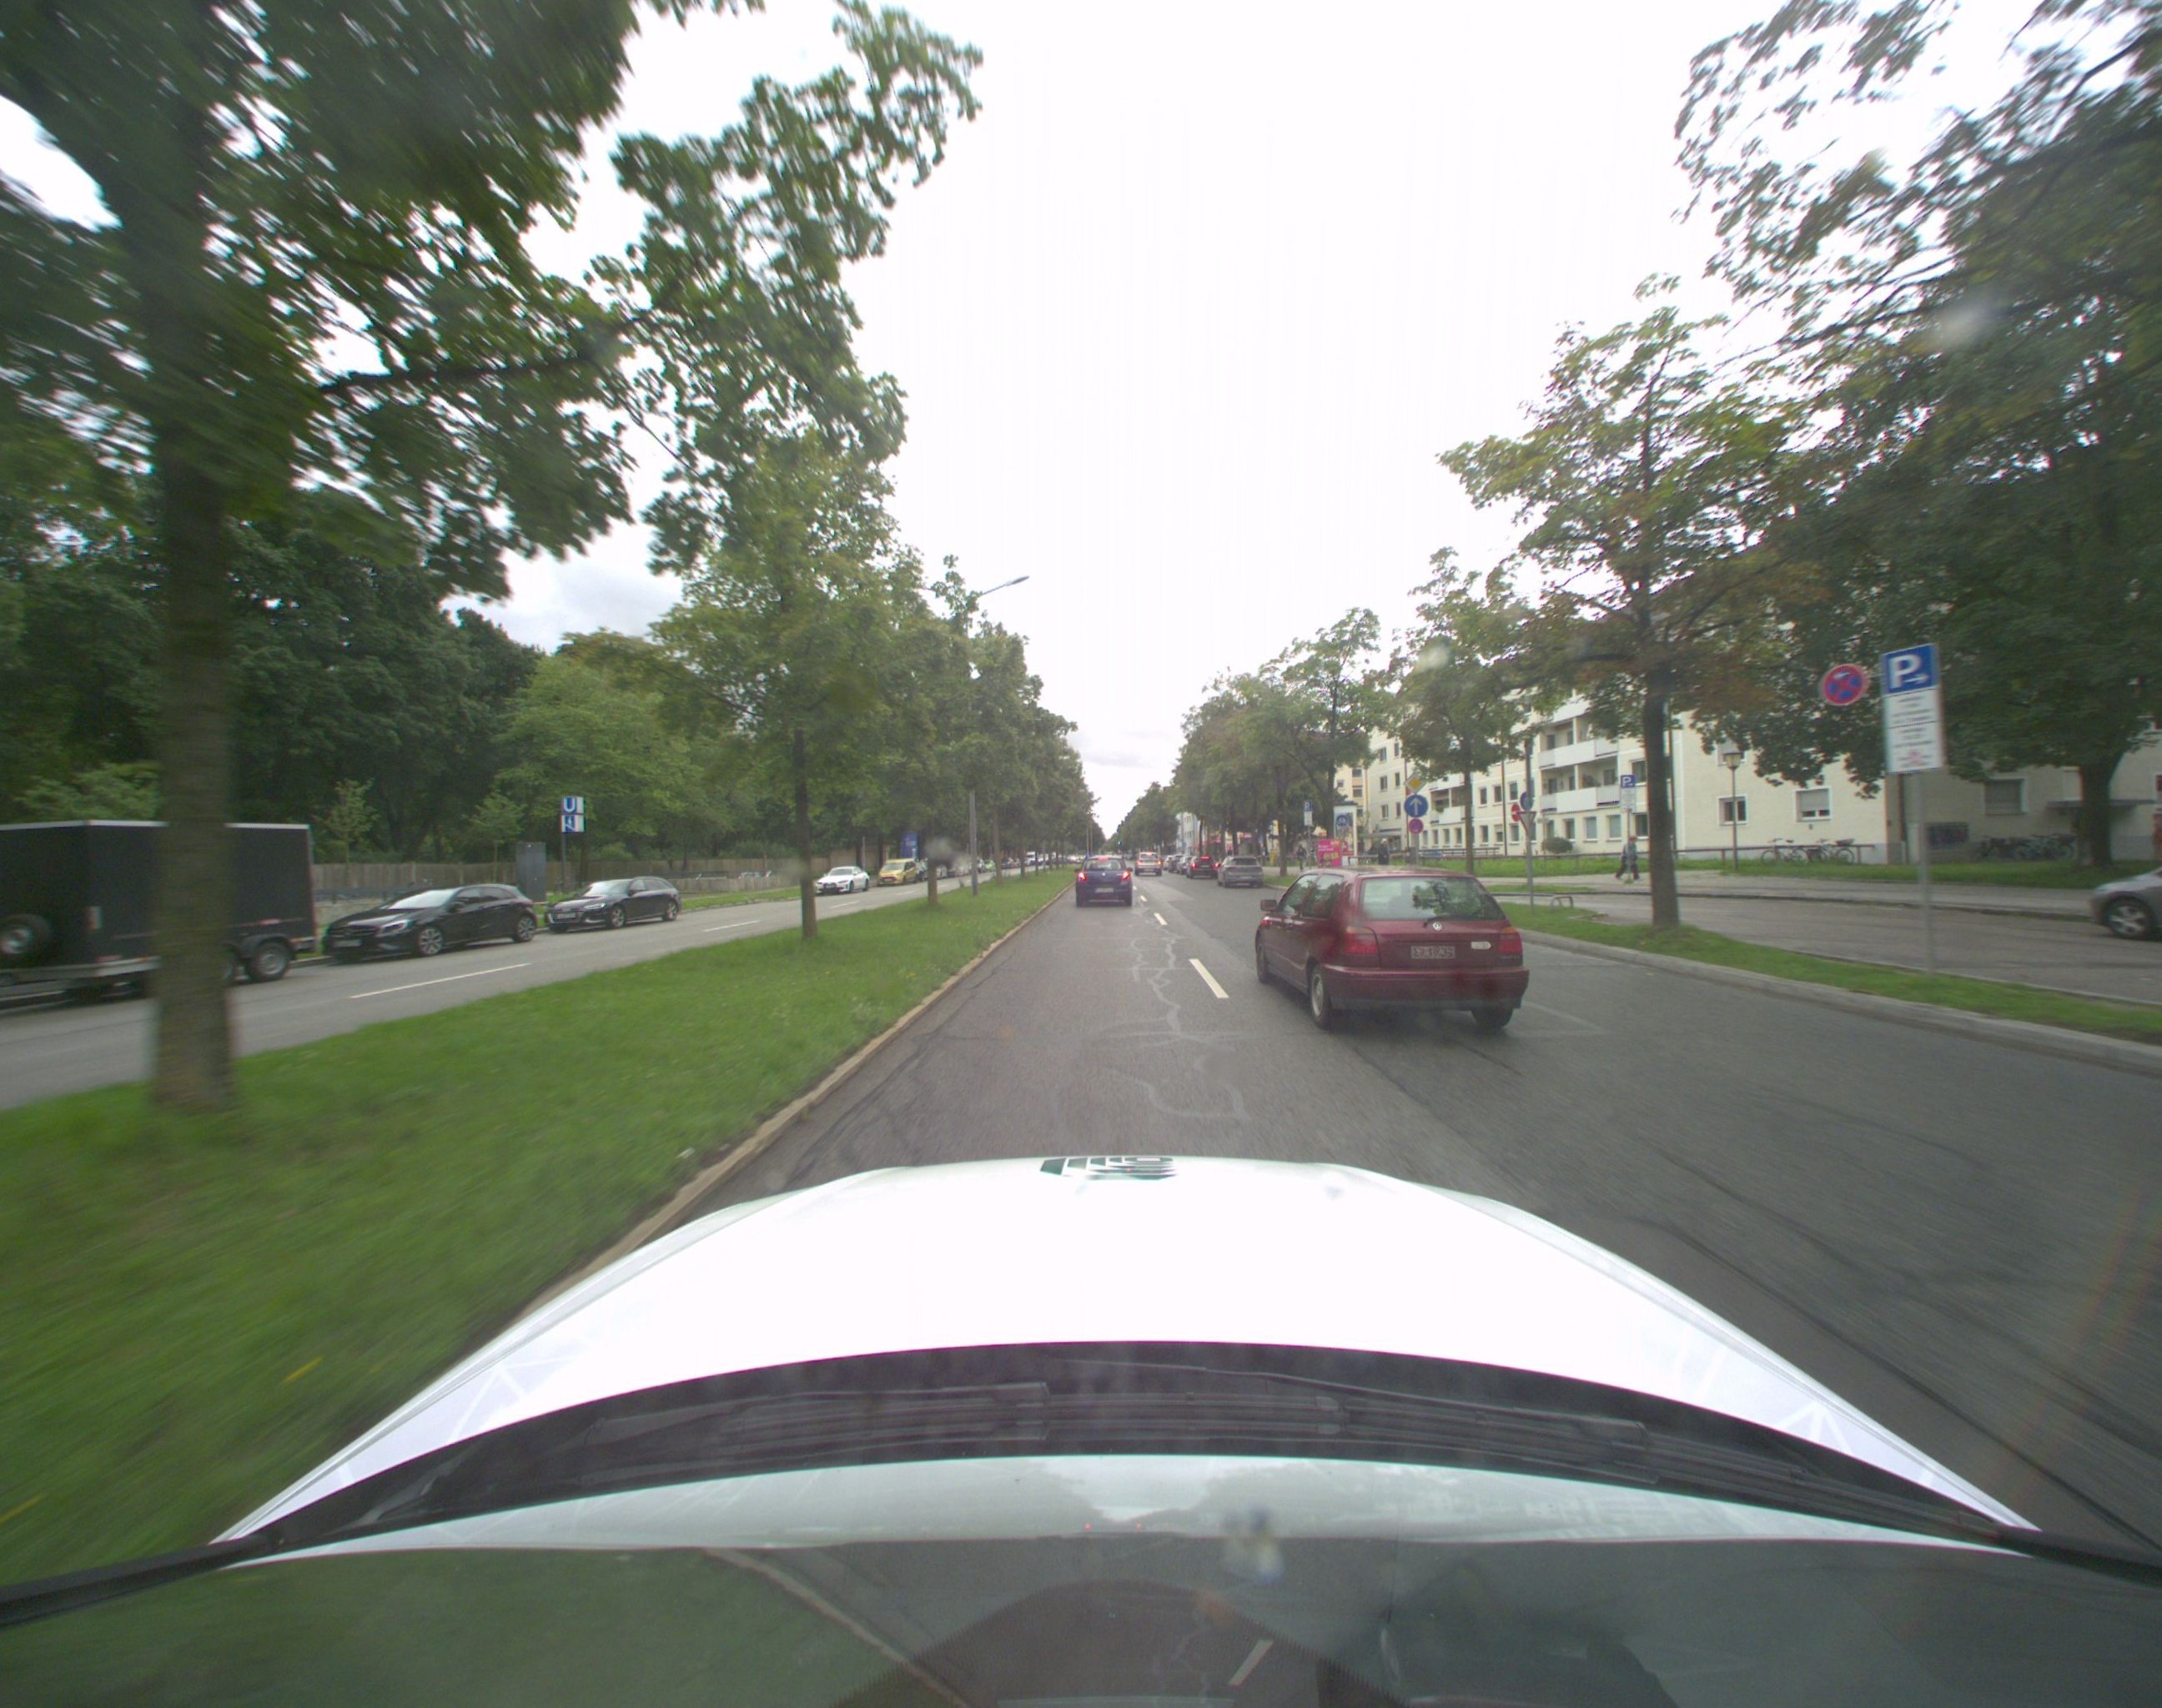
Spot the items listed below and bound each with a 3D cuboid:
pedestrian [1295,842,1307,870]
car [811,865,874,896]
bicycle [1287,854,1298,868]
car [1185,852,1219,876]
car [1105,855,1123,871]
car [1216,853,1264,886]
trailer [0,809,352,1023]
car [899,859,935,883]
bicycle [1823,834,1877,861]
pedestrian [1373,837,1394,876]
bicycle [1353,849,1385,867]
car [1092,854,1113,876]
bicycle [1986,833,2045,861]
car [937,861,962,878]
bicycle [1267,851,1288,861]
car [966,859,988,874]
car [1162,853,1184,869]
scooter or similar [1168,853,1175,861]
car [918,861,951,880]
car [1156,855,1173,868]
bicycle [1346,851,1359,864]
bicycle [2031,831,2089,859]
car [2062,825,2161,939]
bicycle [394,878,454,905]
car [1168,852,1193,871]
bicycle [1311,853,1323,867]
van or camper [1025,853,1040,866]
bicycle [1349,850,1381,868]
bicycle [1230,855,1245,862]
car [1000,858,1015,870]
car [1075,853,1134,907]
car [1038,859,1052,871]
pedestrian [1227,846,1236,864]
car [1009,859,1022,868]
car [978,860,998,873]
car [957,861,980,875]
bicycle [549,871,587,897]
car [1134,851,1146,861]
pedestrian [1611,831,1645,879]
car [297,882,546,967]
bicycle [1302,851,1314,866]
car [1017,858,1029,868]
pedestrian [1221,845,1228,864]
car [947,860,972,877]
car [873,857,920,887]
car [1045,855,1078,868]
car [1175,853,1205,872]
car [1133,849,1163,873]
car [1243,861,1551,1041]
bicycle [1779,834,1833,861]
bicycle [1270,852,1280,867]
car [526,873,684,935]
[{"bbox_3d":[13.906,0.106,51.429,0.634,1.749,0.853,-3,0,17],"label":"pedestrian"},{"bbox_3d":[-13.123,1.427,45.165,1.850,1.472,4.876,-3,0,1],"label":"car"},{"bbox_3d":[16.793,0.531,64.702,0.429,1.028,1.885,-2,0,3],"label":"bicycle"},{"bbox_3d":[7.676,0.634,51.817,1.743,1.465,4.179,0,0,3],"label":"car"},{"bbox_3d":[3.138,0.841,77.083,1.675,1.463,3.736,-1,0,2],"label":"car"},{"bbox_3d":[7.347,0.684,37.931,1.675,1.465,4.118,0,0,3],"label":"car"},{"bbox_3d":[-14.023,0.792,12.061,2.009,2.590,4.661,-3,0,2],"label":"trailer"},{"bbox_3d":[-12.505,1.293,62.488,1.730,1.646,4.257,-3,0,1],"label":"car"},{"bbox_3d":[29.757,-0.261,31.536,1.687,0.971,0.455,-2,0,-2],"label":"bicycle"},{"bbox_3d":[13.791,0.113,37.127,0.643,1.730,0.595,0,-1,-29],"label":"pedestrian"},{"bbox_3d":[18.283,0.257,51.722,1.874,1.028,0.432,-2,-1,-5],"label":"bicycle"},{"bbox_3d":[1.547,0.781,59.434,1.439,1.483,3.107,-1,0,1],"label":"car"},{"bbox_3d":[34.763,-0.267,30.300,1.687,0.971,0.455,-2,0,-2],"label":"bicycle"},{"bbox_3d":[-11.868,1.385,73.783,1.608,1.417,3.896,-3,0,0],"label":"car"},{"bbox_3d":[18.518,0.207,76.919,1.869,0.940,0.558,0,-1,3],"label":"bicycle"},{"bbox_3d":[-11.568,1.351,90.561,1.685,1.586,4.372,-3,0,1],"label":"car"},{"bbox_3d":[8.820,0.651,78.117,1.676,1.465,4.138,1,0,1],"label":"car"},{"bbox_3d":[15.715,0.495,142.089,1.028,1.307,2.757,-2,0,3],"label":"scooter or similar"},{"bbox_3d":[-12.268,1.369,68.592,1.756,1.449,4.534,-3,0,1],"label":"car"},{"bbox_3d":[9.053,0.804,88.600,1.611,1.465,3.675,0,0,2],"label":"car"},{"bbox_3d":[21.405,0.287,64.285,0.429,1.028,1.885,-2,0,3],"label":"bicycle"},{"bbox_3d":[36.529,-0.340,30.389,1.687,0.971,0.455,-2,0,-2],"label":"bicycle"},{"bbox_3d":[16.457,0.385,10.860,1.814,1.634,4.202,-2,0,4],"label":"car"},{"bbox_3d":[-23.448,1.336,29.080,1.813,0.930,0.433,-1,0,1],"label":"bicycle"},{"bbox_3d":[8.321,0.644,68.112,1.710,1.533,4.277,0,0,2],"label":"car"},{"bbox_3d":[18.640,0.451,64.324,0.429,1.028,1.885,-2,0,3],"label":"bicycle"},{"bbox_3d":[-9.294,1.041,157.690,2.108,2.482,7.454,-1,0,3],"label":"van or camper"},{"bbox_3d":[17.846,0.302,51.183,1.875,1.028,0.432,-2,-1,-7],"label":"bicycle"},{"bbox_3d":[20.646,0.629,107.327,1.841,0.957,0.557,-1,-1,0],"label":"bicycle"},{"bbox_3d":[-10.498,1.383,116.058,1.710,1.741,3.880,-1,0,1],"label":"car"},{"bbox_3d":[0.715,0.745,25.367,1.676,1.502,3.919,-1,0,1],"label":"car"},{"bbox_3d":[-6.110,1.815,138.670,1.793,1.934,4.995,-3,-1,1],"label":"car"},{"bbox_3d":[15.562,0.088,84.387,0.727,1.890,0.919,-2,-1,1],"label":"pedestrian"},{"bbox_3d":[-10.170,1.455,126.441,1.661,1.445,3.880,-1,0,1],"label":"car"},{"bbox_3d":[-11.285,1.453,98.892,1.540,1.409,3.884,-3,0,4],"label":"car"},{"bbox_3d":[-11.728,1.436,84.772,1.584,1.397,3.634,-3,0,4],"label":"car"},{"bbox_3d":[-22.993,1.348,36.530,0.429,1.100,1.827,-1,0,3],"label":"bicycle"},{"bbox_3d":[10.269,0.392,142.178,1.859,1.682,4.224,-2,0,0],"label":"car"},{"bbox_3d":[18.268,0.026,27.207,0.582,1.574,0.773,0,-1,-31],"label":"pedestrian"},{"bbox_3d":[-14.005,1.420,17.696,1.793,1.384,4.240,-3,0,2],"label":"car"},{"bbox_3d":[17.940,0.335,64.436,0.429,1.101,1.885,-2,0,3],"label":"bicycle"},{"bbox_3d":[-9.782,1.554,138.166,1.626,1.741,3.880,-1,0,1],"label":"car"},{"bbox_3d":[14.882,0.066,84.386,0.586,1.890,0.902,-2,-1,1],"label":"pedestrian"},{"bbox_3d":[-11.878,1.418,79.713,1.601,1.444,4.281,-3,0,2],"label":"car"},{"bbox_3d":[-12.556,1.190,55.814,1.807,1.783,4.821,-3,0,3],"label":"car"},{"bbox_3d":[-2.487,0.928,104.520,4.114,1.468,1.837,-2,0,-5],"label":"car"},{"bbox_3d":[8.287,0.639,62.117,1.631,1.386,4.242,0,0,-1],"label":"car"},{"bbox_3d":[4.831,0.488,59.259,1.859,1.661,4.408,0,0,1],"label":"car"},{"bbox_3d":[2.857,0.771,8.315,1.676,1.384,3.919,0,0,1],"label":"car"},{"bbox_3d":[27.980,-0.237,31.431,1.687,0.971,0.455,-2,0,-2],"label":"bicycle"},{"bbox_3d":[15.552,0.413,65.398,0.429,1.133,1.885,-2,0,3],"label":"bicycle"},{"bbox_3d":[-13.619,1.380,23.684,1.793,1.425,4.433,-3,0,2],"label":"car"}]
